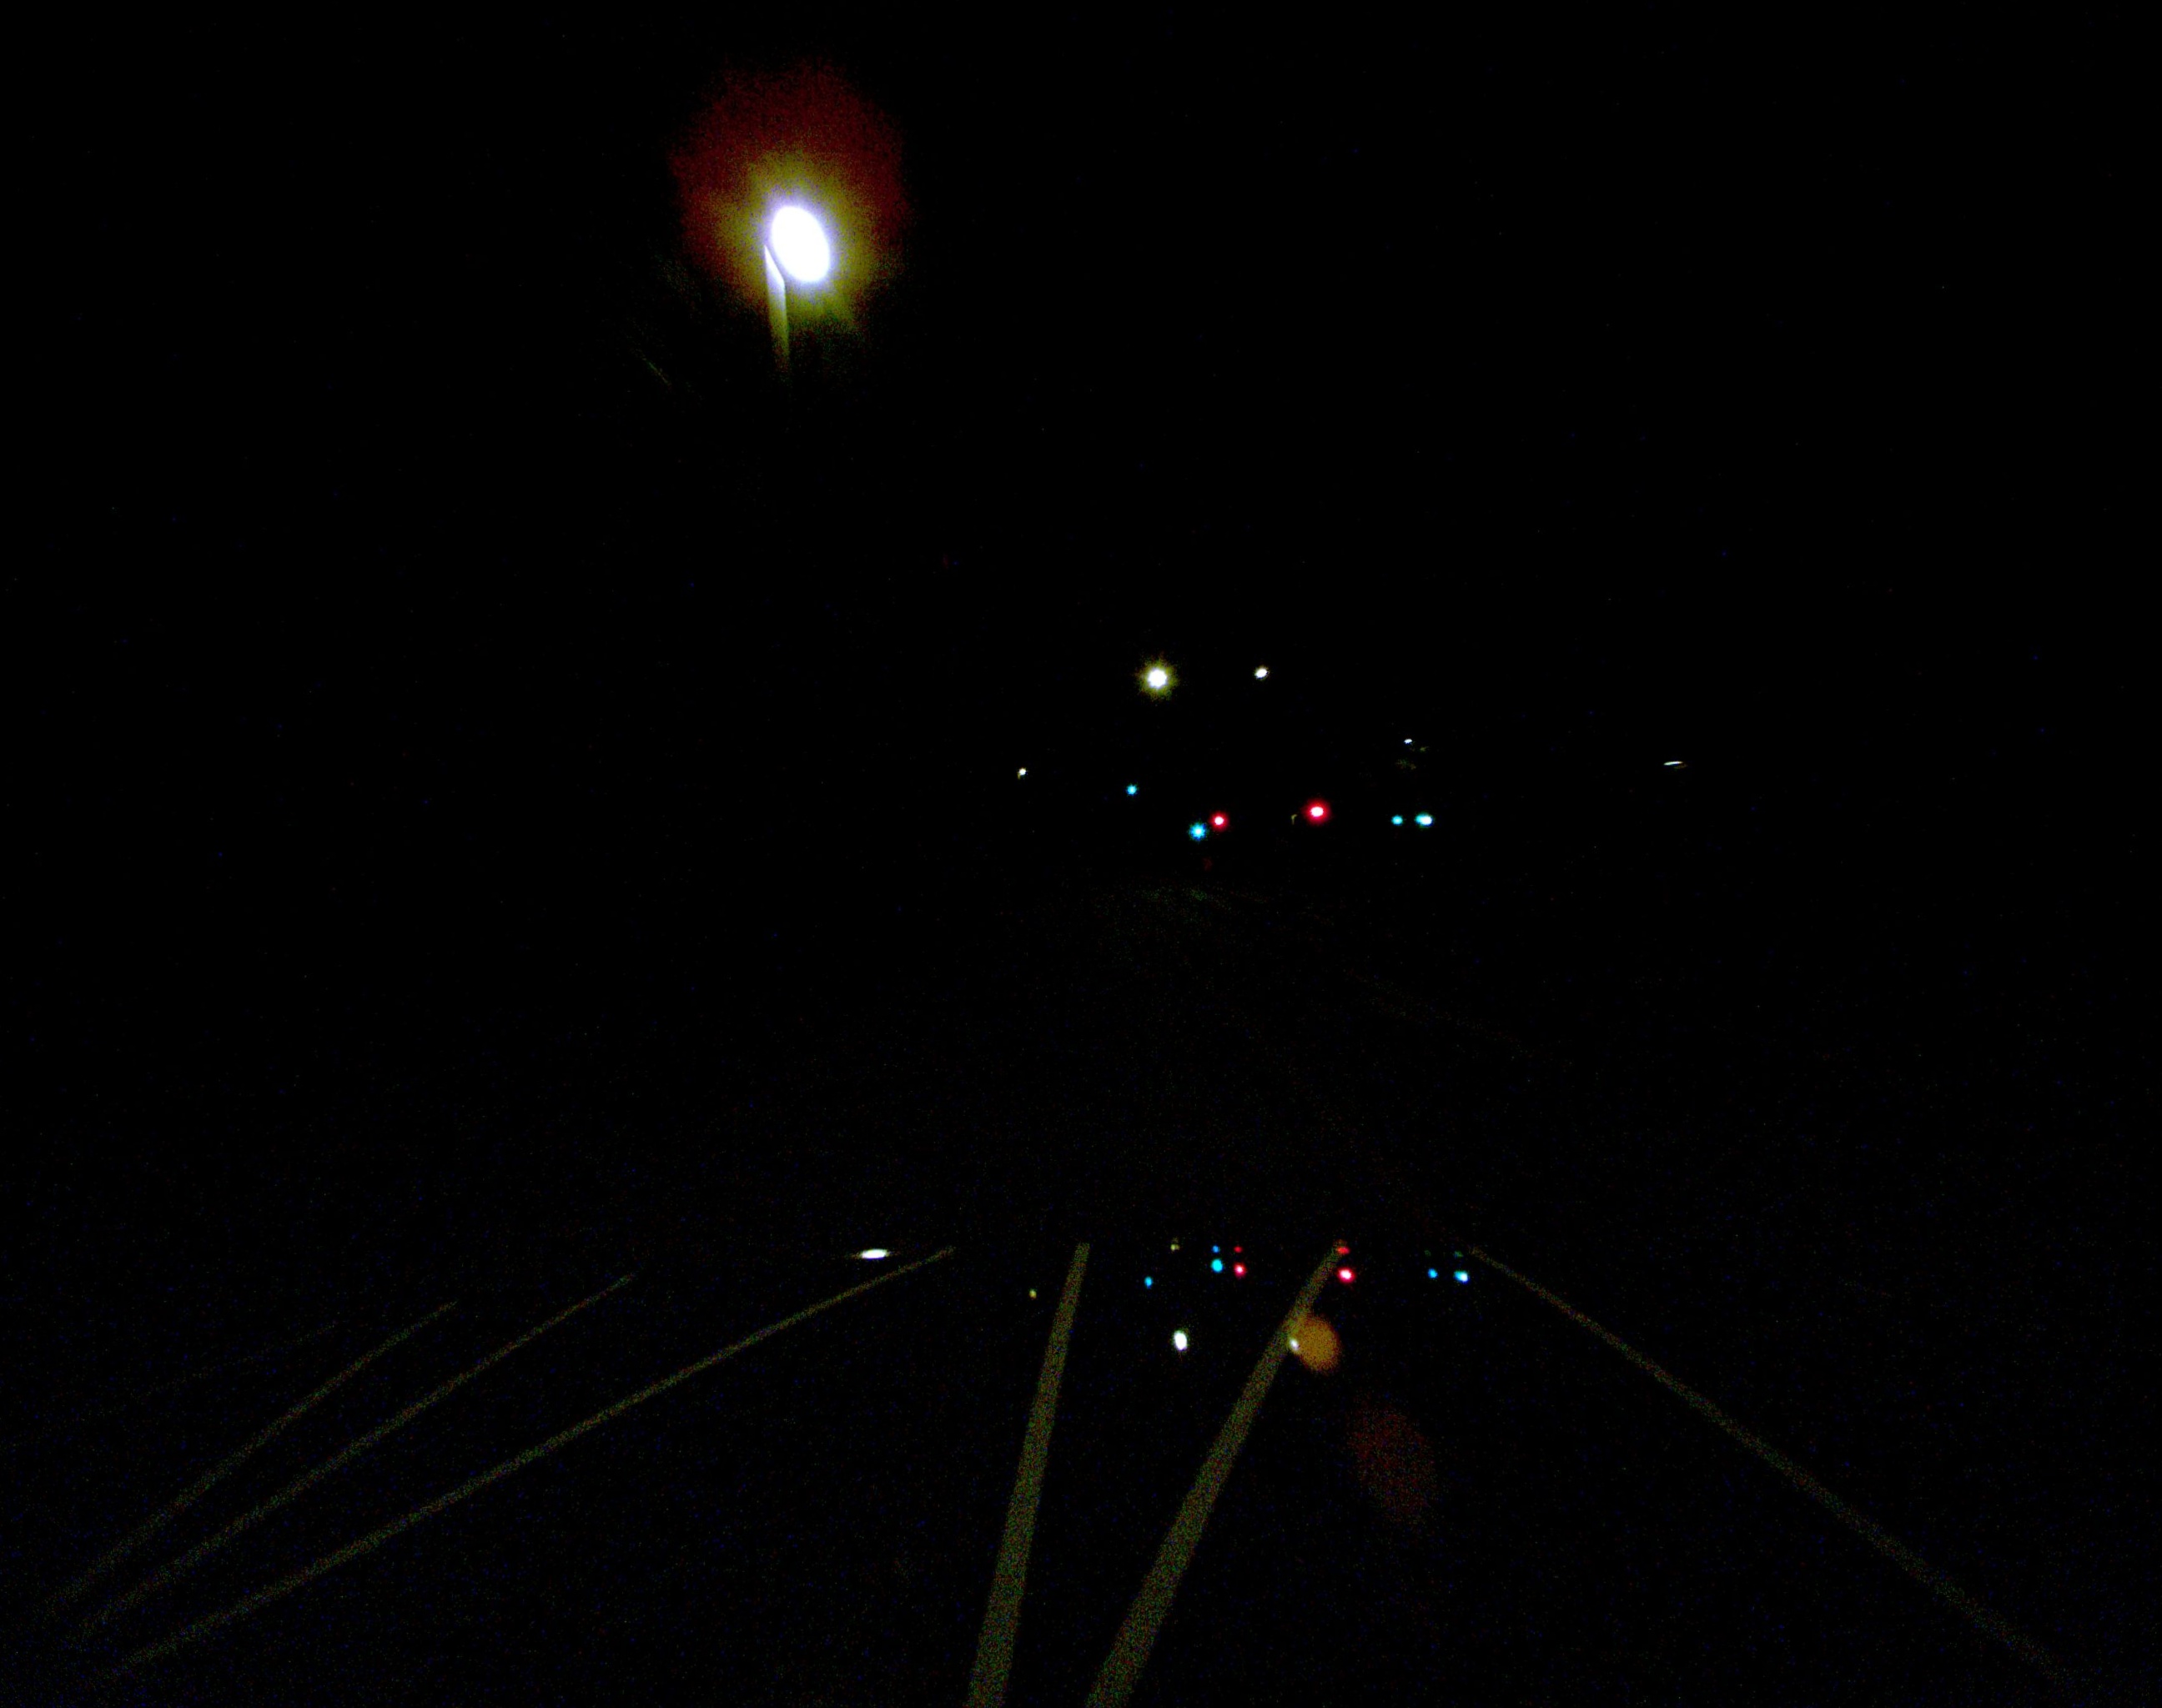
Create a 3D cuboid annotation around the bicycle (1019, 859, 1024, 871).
[{"bbox_3d":[-5.650,1.055,71.711,0.296,0.977,1.942,-3,4,-9],"label":"bicycle"}]
